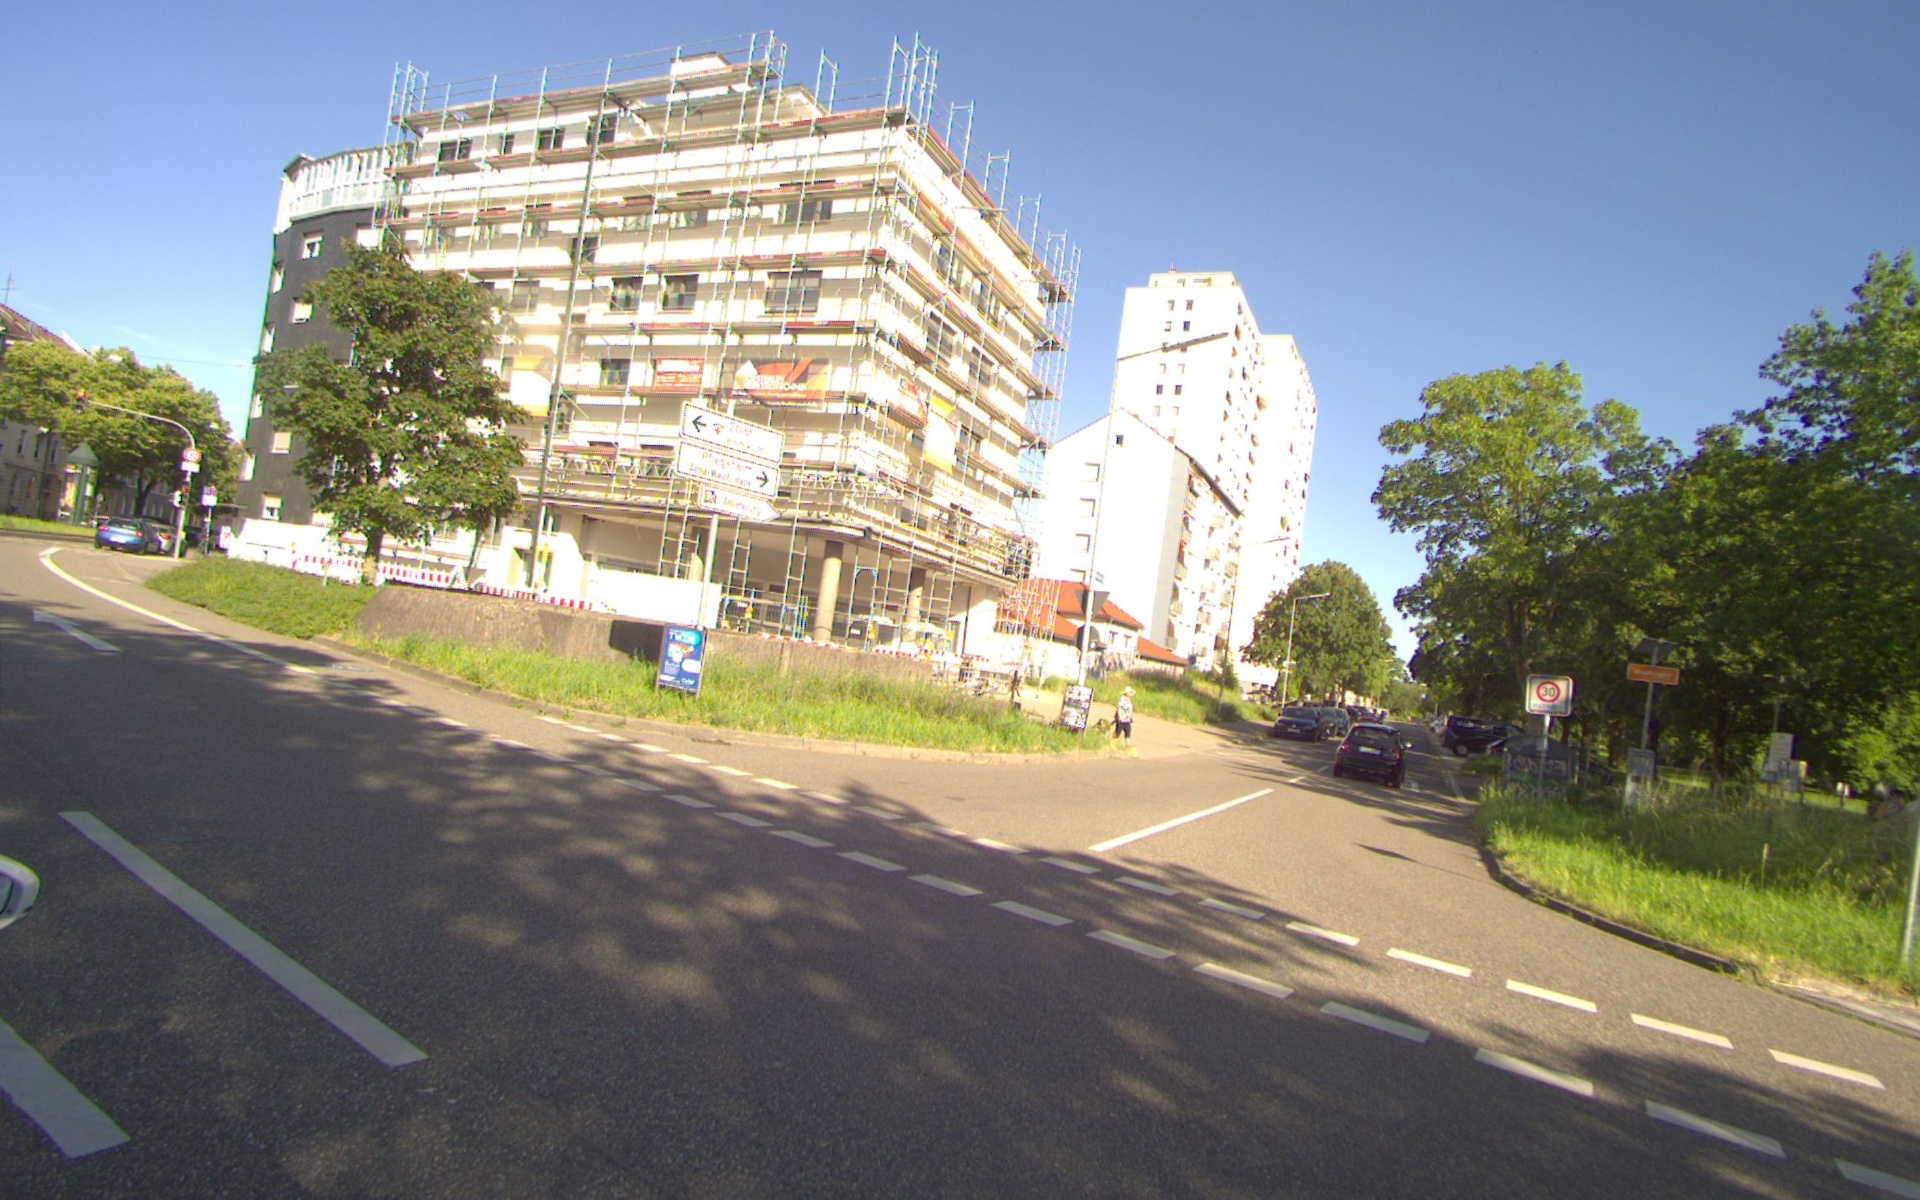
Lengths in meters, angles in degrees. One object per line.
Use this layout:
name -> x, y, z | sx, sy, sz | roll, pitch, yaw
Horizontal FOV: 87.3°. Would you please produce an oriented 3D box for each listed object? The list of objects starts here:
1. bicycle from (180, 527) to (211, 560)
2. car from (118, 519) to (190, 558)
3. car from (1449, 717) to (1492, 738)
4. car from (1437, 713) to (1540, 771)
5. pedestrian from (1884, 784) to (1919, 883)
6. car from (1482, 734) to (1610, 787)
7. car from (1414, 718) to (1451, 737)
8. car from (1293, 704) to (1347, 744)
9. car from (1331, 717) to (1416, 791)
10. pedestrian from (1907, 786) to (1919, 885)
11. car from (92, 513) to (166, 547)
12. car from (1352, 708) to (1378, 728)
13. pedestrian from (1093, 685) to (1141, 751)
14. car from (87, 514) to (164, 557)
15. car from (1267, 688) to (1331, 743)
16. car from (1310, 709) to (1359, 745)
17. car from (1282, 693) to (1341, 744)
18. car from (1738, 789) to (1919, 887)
bicycle -> -38.744, -2.827, 50.997 | 0.568, 1.528, 2.789 | 9, -2, -27
car -> -39.065, -2.951, 48.875 | 1.805, 1.525, 3.973 | 9, -2, -27
car -> 54.800, 13.731, 108.119 | 3.929, 1.673, 2.002 | 6, -4, 26
car -> 26.436, 7.073, 50.367 | 4.280, 2.096, 1.998 | 7, -3, 32
pedestrian -> 16.786, 4.109, 17.656 | 0.556, 1.637, 0.600 | 7, -3, 23
car -> 22.231, 6.067, 38.184 | 3.939, 1.311, 1.997 | 5, -5, 37
car -> 57.121, 15.452, 121.686 | 3.929, 1.673, 2.002 | 6, -4, 26
car -> 18.946, 6.544, 52.880 | 1.966, 1.679, 4.002 | 6, -5, 28
car -> 11.081, 4.076, 27.148 | 1.648, 1.519, 3.567 | 8, -3, 18
pedestrian -> 16.443, 3.993, 16.833 | 0.556, 1.637, 0.706 | 7, -3, 23
car -> -57.391, -4.817, 69.486 | 3.924, 1.611, 1.913 | 8, -2, 16
car -> 42.139, 12.227, 104.511 | 1.966, 1.679, 4.002 | 6, -5, 28
pedestrian -> 3.996, 2.986, 25.538 | 0.892, 1.514, 0.652 | 7, -2, 21
car -> -36.832, -2.811, 44.505 | 1.762, 1.458, 3.593 | 10, -3, -28
car -> 15.080, 5.140, 44.629 | 1.965, 2.035, 4.001 | 7, -3, 27
car -> 21.380, 7.249, 57.357 | 1.966, 1.679, 4.002 | 6, -5, 28
car -> 17.144, 5.795, 48.954 | 1.966, 2.034, 4.002 | 6, -5, 28
car -> 21.404, 5.728, 24.205 | 3.935, 1.624, 1.999 | 6, -4, 32
